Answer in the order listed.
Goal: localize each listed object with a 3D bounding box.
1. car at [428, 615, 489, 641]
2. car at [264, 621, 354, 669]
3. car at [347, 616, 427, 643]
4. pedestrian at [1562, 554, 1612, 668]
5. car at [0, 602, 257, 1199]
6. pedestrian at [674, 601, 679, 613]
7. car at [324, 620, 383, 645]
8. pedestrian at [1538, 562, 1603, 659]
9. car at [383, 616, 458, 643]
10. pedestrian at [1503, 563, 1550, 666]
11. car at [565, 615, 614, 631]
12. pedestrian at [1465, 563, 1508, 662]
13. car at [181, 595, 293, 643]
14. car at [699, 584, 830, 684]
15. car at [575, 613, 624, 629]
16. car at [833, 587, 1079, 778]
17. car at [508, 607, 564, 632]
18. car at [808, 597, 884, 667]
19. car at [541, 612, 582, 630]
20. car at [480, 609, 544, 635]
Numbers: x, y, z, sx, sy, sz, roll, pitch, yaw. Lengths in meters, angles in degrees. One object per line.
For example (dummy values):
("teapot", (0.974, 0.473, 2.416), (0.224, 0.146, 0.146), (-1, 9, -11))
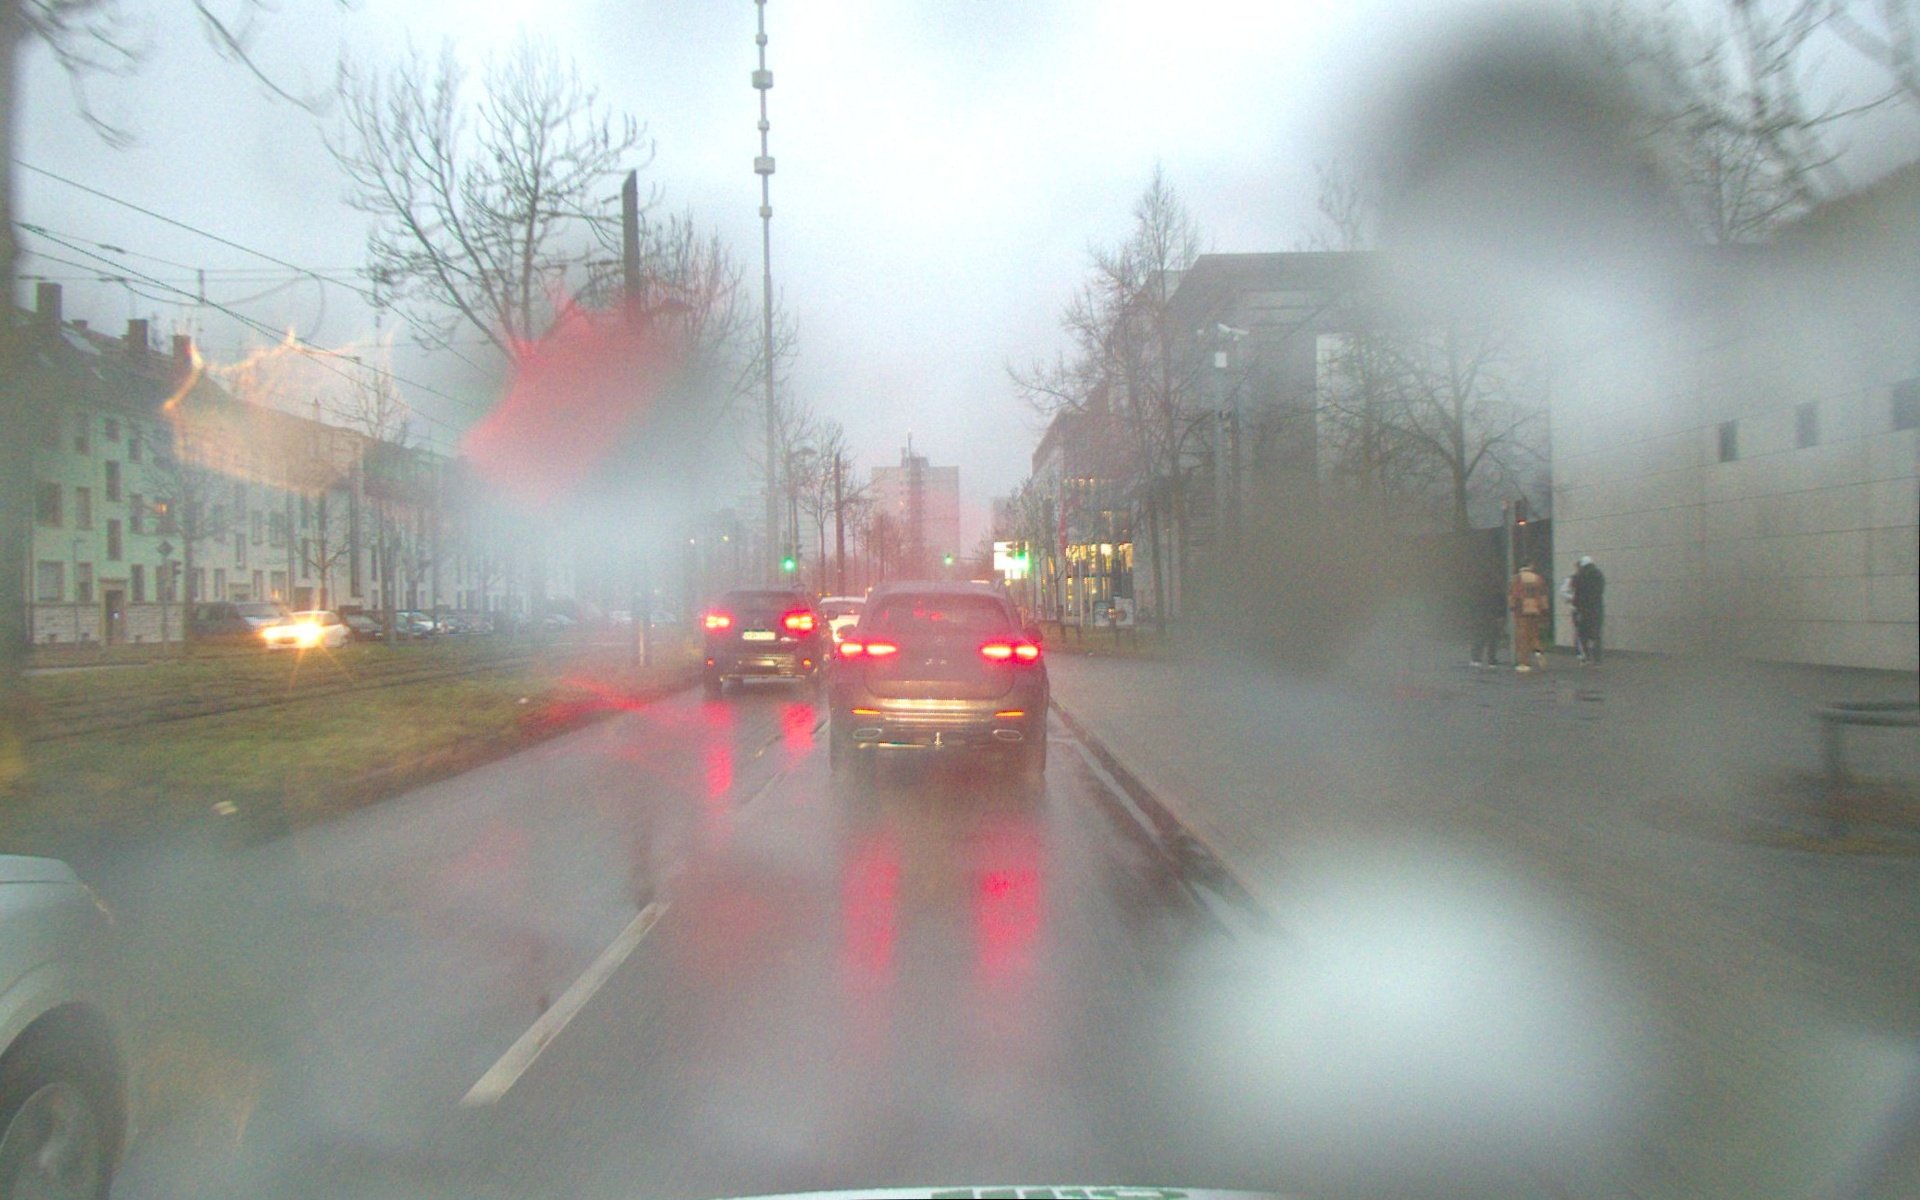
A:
("car", (-27.492, 1.541, 90.693), (2.874, 1.359, 1.733), (1, 0, 32))
("car", (-22.135, 1.506, 56.360), (1.514, 1.530, 3.783), (1, 0, 0))
("car", (-27.697, 1.410, 79.925), (3.740, 1.193, 1.733), (1, 0, 32))
("pedestrian", (10.042, 0.171, 26.496), (0.658, 1.809, 0.615), (0, -1, 13))
("car", (-2.519, 0.744, 1.995), (1.654, 1.500, 4.000), (1, 0, -1))
("pedestrian", (-30.424, 0.747, 177.239), (0.343, 1.205, 0.428), (1, -1, -41))
("car", (-28.083, 1.503, 76.578), (2.341, 1.067, 1.433), (1, 1, 32))
("pedestrian", (10.848, 0.193, 29.421), (0.654, 1.684, 0.993), (-2, -1, -6))
("car", (-27.301, 1.499, 83.625), (3.766, 1.267, 1.731), (1, 0, 35))
("pedestrian", (9.120, 0.230, 26.639), (0.658, 1.640, 0.615), (0, -1, 13))
("car", (-28.843, 1.771, 128.830), (3.464, 1.233, 1.744), (0, 0, 31))
("pedestrian", (8.948, 0.209, 28.115), (0.658, 1.653, 0.615), (0, -1, 15))
("car", (-28.132, 0.717, 64.298), (4.562, 1.754, 1.828), (1, 0, 34))
("car", (-3.088, 0.518, 26.788), (1.781, 1.476, 3.998), (1, 0, -2))
("car", (-28.701, 1.629, 131.807), (3.464, 1.221, 1.878), (0, 0, 31))
("car", (-0.055, 0.676, 15.078), (1.953, 1.509, 3.699), (1, -1, -1))
("car", (-28.034, 1.267, 109.379), (3.779, 1.616, 1.732), (0, 0, 41))
("car", (-2.799, 0.771, 41.188), (1.655, 1.664, 3.473), (1, 0, -1))
("car", (-28.111, 1.491, 116.663), (2.835, 1.225, 1.380), (0, 0, 41))
("car", (-27.993, 1.347, 103.207), (4.079, 1.568, 1.664), (0, 0, 36))
